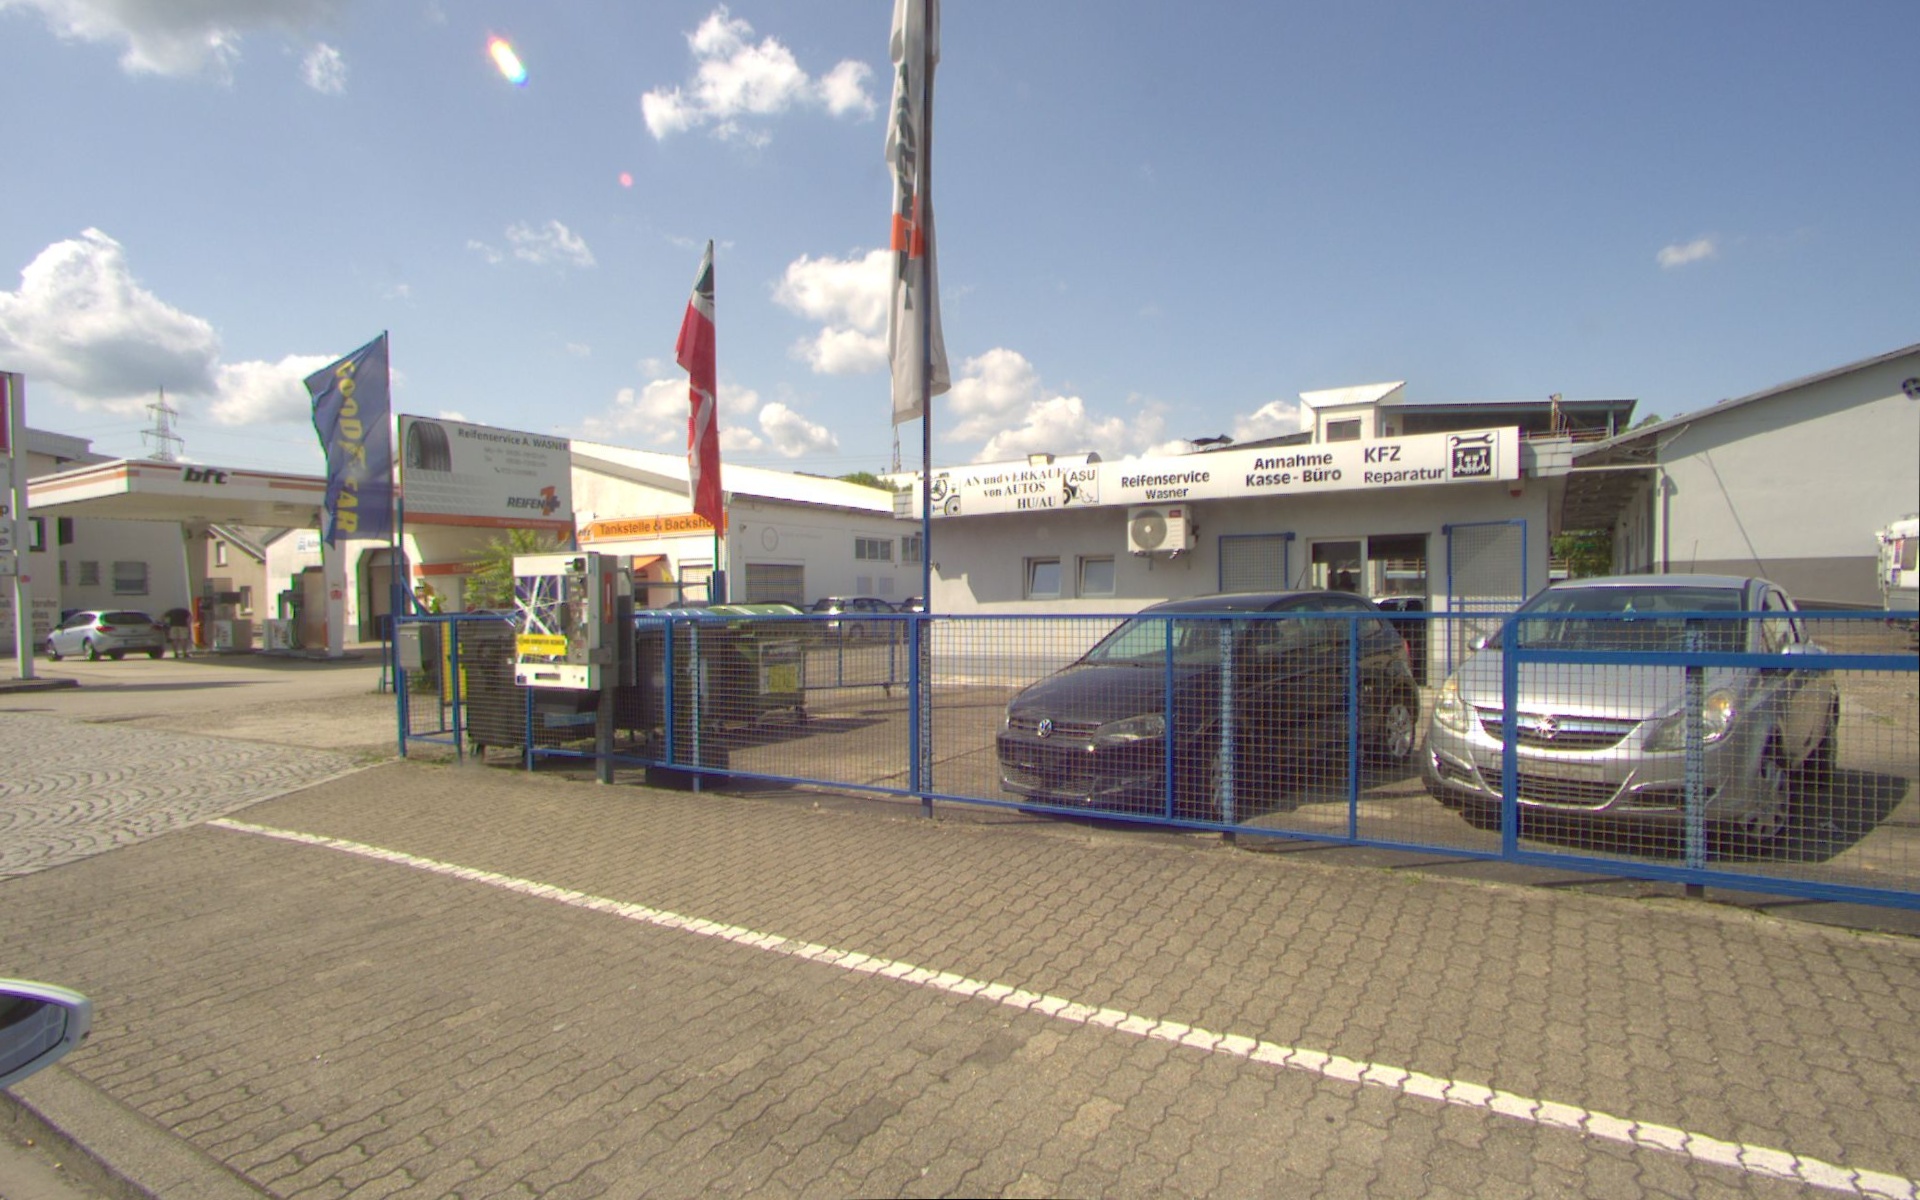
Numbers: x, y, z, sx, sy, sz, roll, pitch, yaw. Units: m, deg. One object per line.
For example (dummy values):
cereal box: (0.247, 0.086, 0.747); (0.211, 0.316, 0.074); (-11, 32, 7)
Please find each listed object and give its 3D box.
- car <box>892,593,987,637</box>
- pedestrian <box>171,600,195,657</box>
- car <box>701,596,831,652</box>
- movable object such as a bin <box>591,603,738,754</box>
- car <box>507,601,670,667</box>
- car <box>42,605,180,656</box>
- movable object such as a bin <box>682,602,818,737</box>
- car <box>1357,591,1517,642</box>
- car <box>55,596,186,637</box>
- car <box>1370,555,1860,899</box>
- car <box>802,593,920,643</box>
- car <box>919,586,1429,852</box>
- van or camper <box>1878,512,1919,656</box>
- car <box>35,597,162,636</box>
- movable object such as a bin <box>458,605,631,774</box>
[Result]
car: (-0.675, 0.507, 35.687); (1.590, 1.406, 3.652); (-1, 1, 33)
pedestrian: (-23.836, 0.866, 30.706); (0.478, 1.711, 0.395); (-1, 1, 33)
car: (-5.349, 0.636, 27.993); (1.589, 1.379, 3.488); (-1, 1, 32)
movable object such as a bin: (-3.124, 0.788, 10.666); (0.812, 1.463, 1.253); (-1, 1, 32)
car: (-8.694, 0.752, 23.676); (1.589, 1.379, 3.312); (-1, 1, 32)
car: (-25.848, 0.915, 30.475); (3.941, 1.439, 1.956); (-1, 1, 30)
movable object such as a bin: (-2.447, 0.776, 11.806); (0.939, 1.463, 1.320); (-1, 1, 25)
car: (14.119, 0.499, 29.678); (4.120, 1.406, 1.918); (-1, 1, 31)
car: (-37.087, 0.700, 44.330); (1.937, 1.671, 3.979); (-1, 1, 31)
car: (4.363, 0.546, 6.401); (3.958, 1.516, 1.734); (-1, 0, -43)
car: (-3.083, 0.539, 31.907); (1.590, 1.406, 3.998); (-1, 1, 33)
car: (1.767, 0.654, 7.488); (3.955, 1.462, 1.696); (-1, 0, -41)
van or camper: (21.400, -0.383, 19.323); (4.986, 2.810, 2.304); (-1, 1, 29)
car: (-39.207, 0.728, 45.672); (1.937, 1.671, 3.979); (-1, 1, 31)
movable object such as a bin: (-3.940, 0.802, 9.557); (0.812, 1.463, 1.253); (-1, 1, 32)
